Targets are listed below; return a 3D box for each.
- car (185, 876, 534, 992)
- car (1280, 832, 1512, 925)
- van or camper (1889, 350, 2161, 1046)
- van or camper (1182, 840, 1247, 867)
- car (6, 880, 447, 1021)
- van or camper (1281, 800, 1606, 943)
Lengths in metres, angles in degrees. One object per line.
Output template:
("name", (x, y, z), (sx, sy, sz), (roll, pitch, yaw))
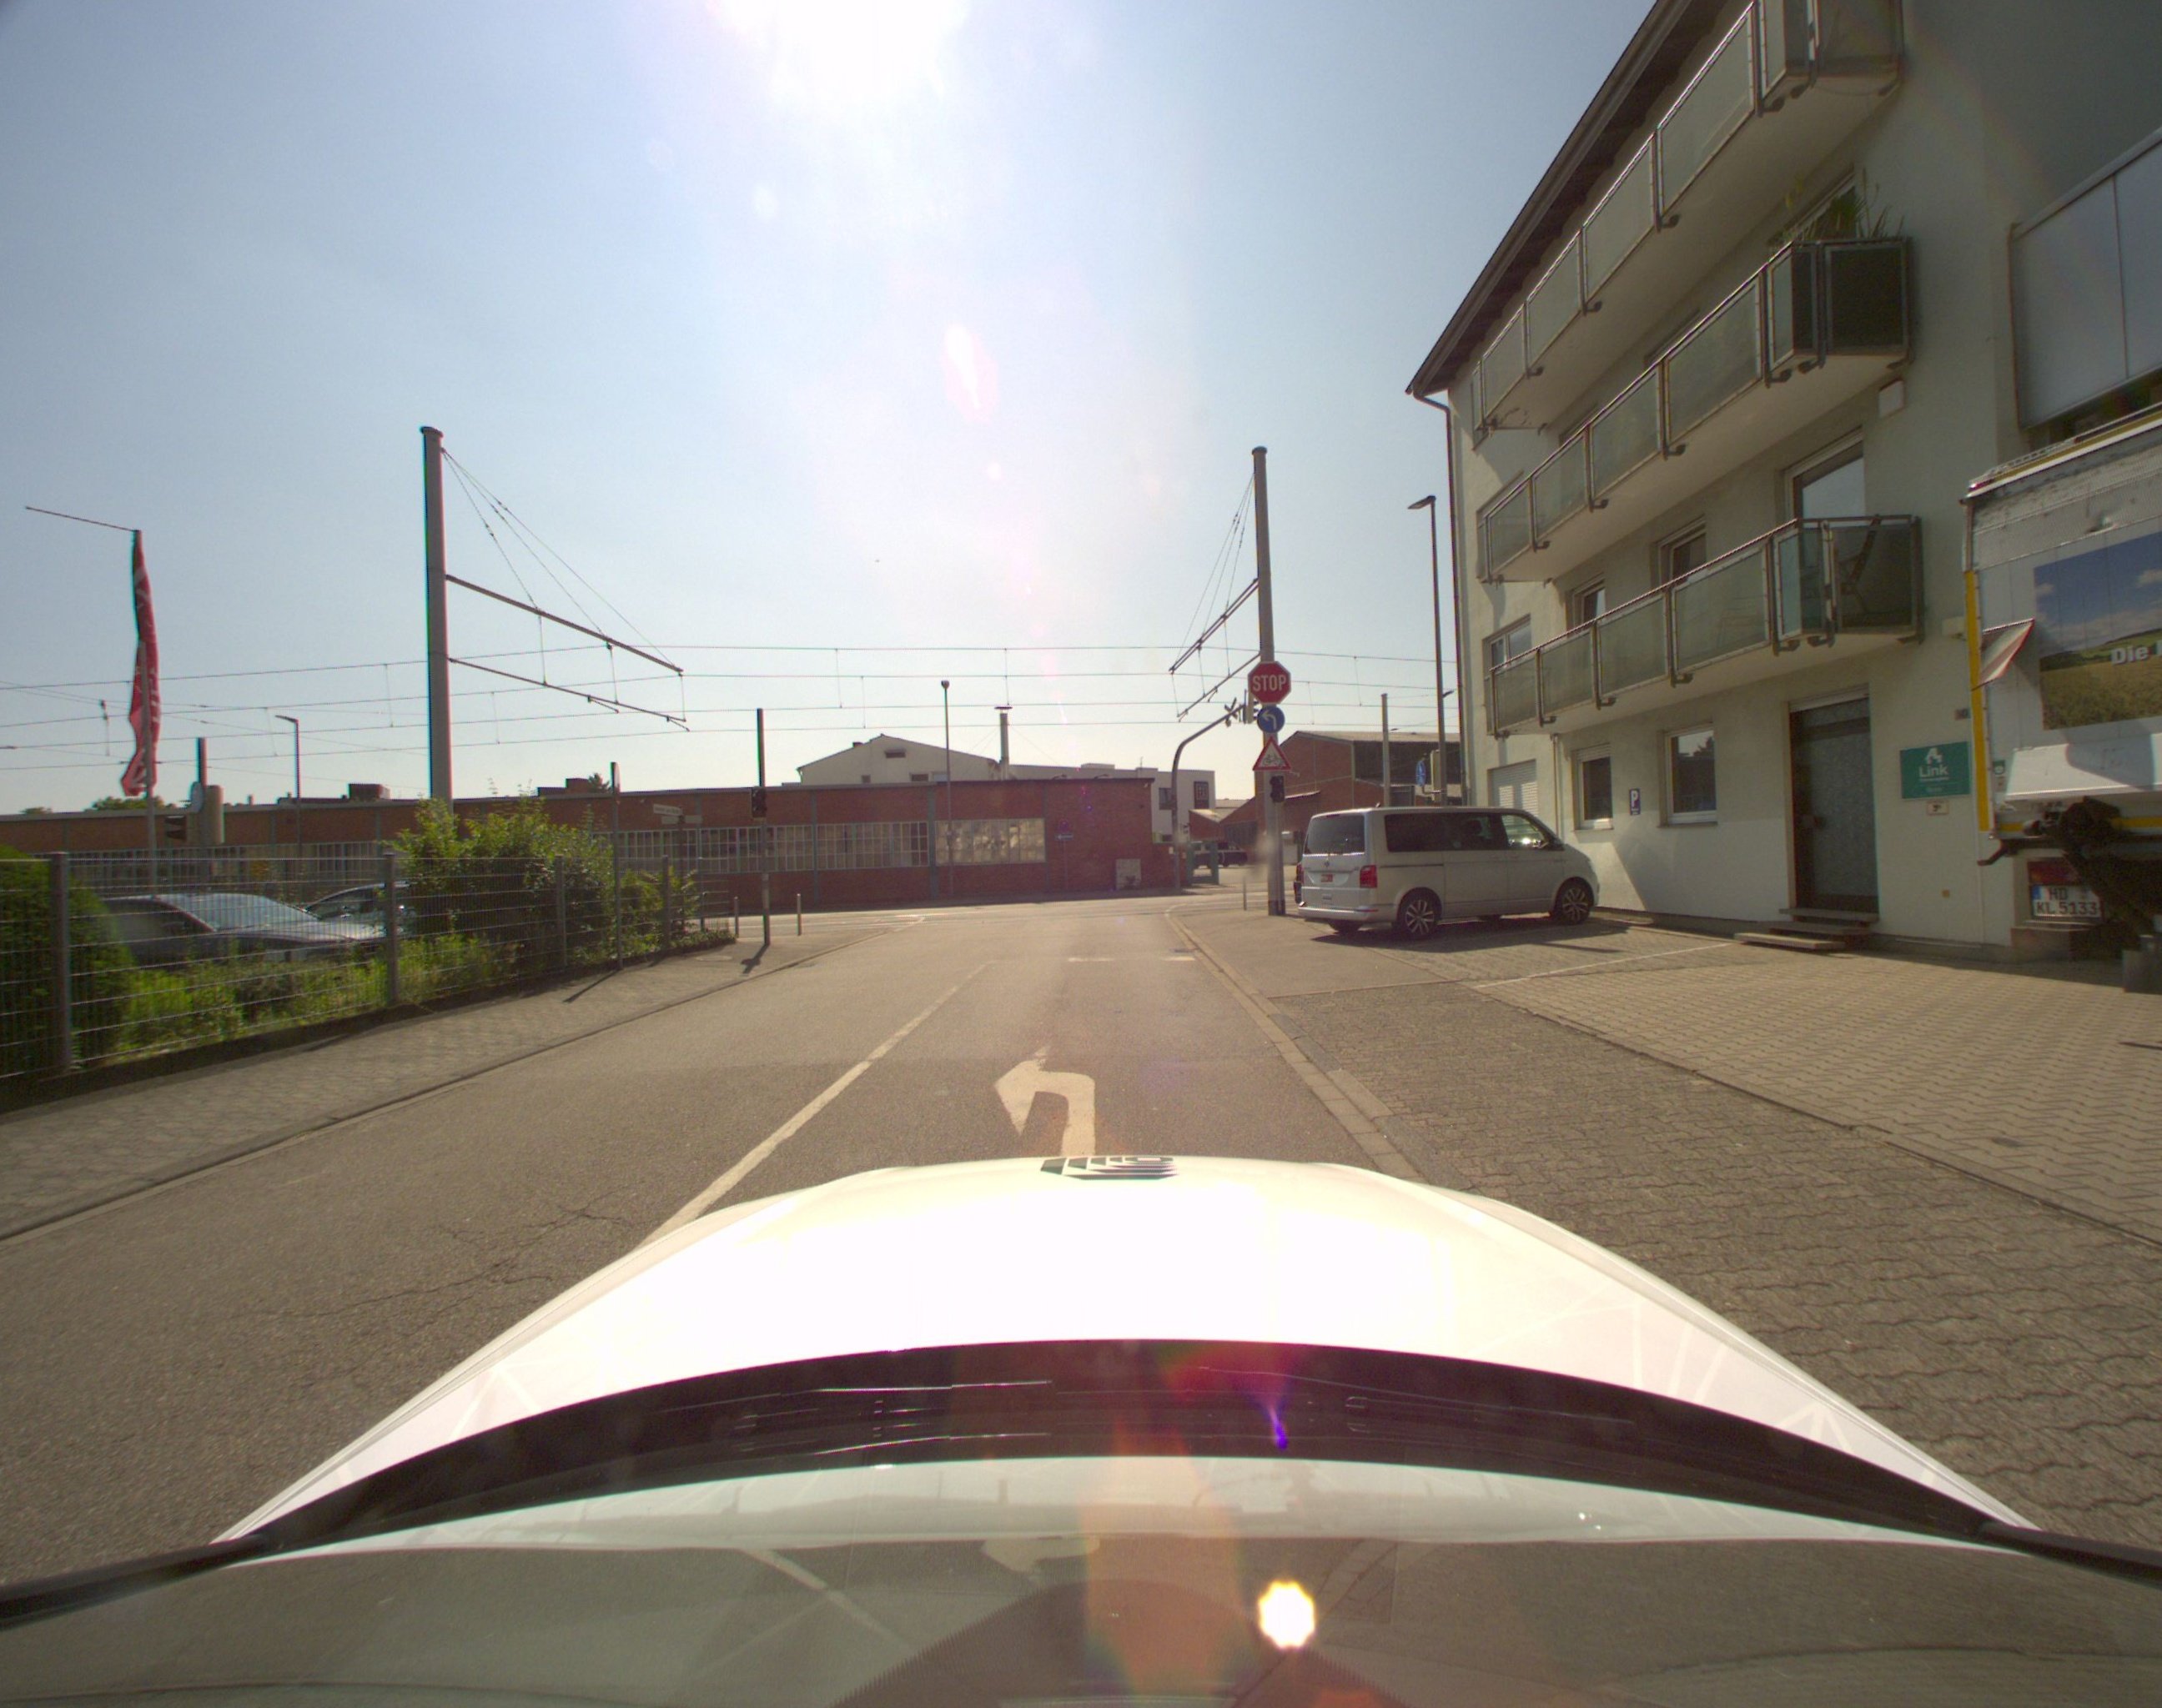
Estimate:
("car", (-11.348, 1.208, 13.034), (3.883, 1.512, 1.805), (-2, 0, -1))
("car", (6.059, 0.423, 15.709), (3.978, 1.521, 1.865), (-2, -1, -24))
("van or camper", (11.531, -1.046, 4.804), (11.582, 3.693, 2.776), (-2, 0, -6))
("van or camper", (9.586, 0.010, 58.281), (4.439, 1.900, 1.979), (1, -1, -34))
("car", (-11.196, 1.205, 10.909), (3.883, 1.512, 1.805), (-2, 0, -1))
("van or camper", (5.712, 0.203, 12.927), (4.555, 1.908, 1.987), (-2, 0, -19))
